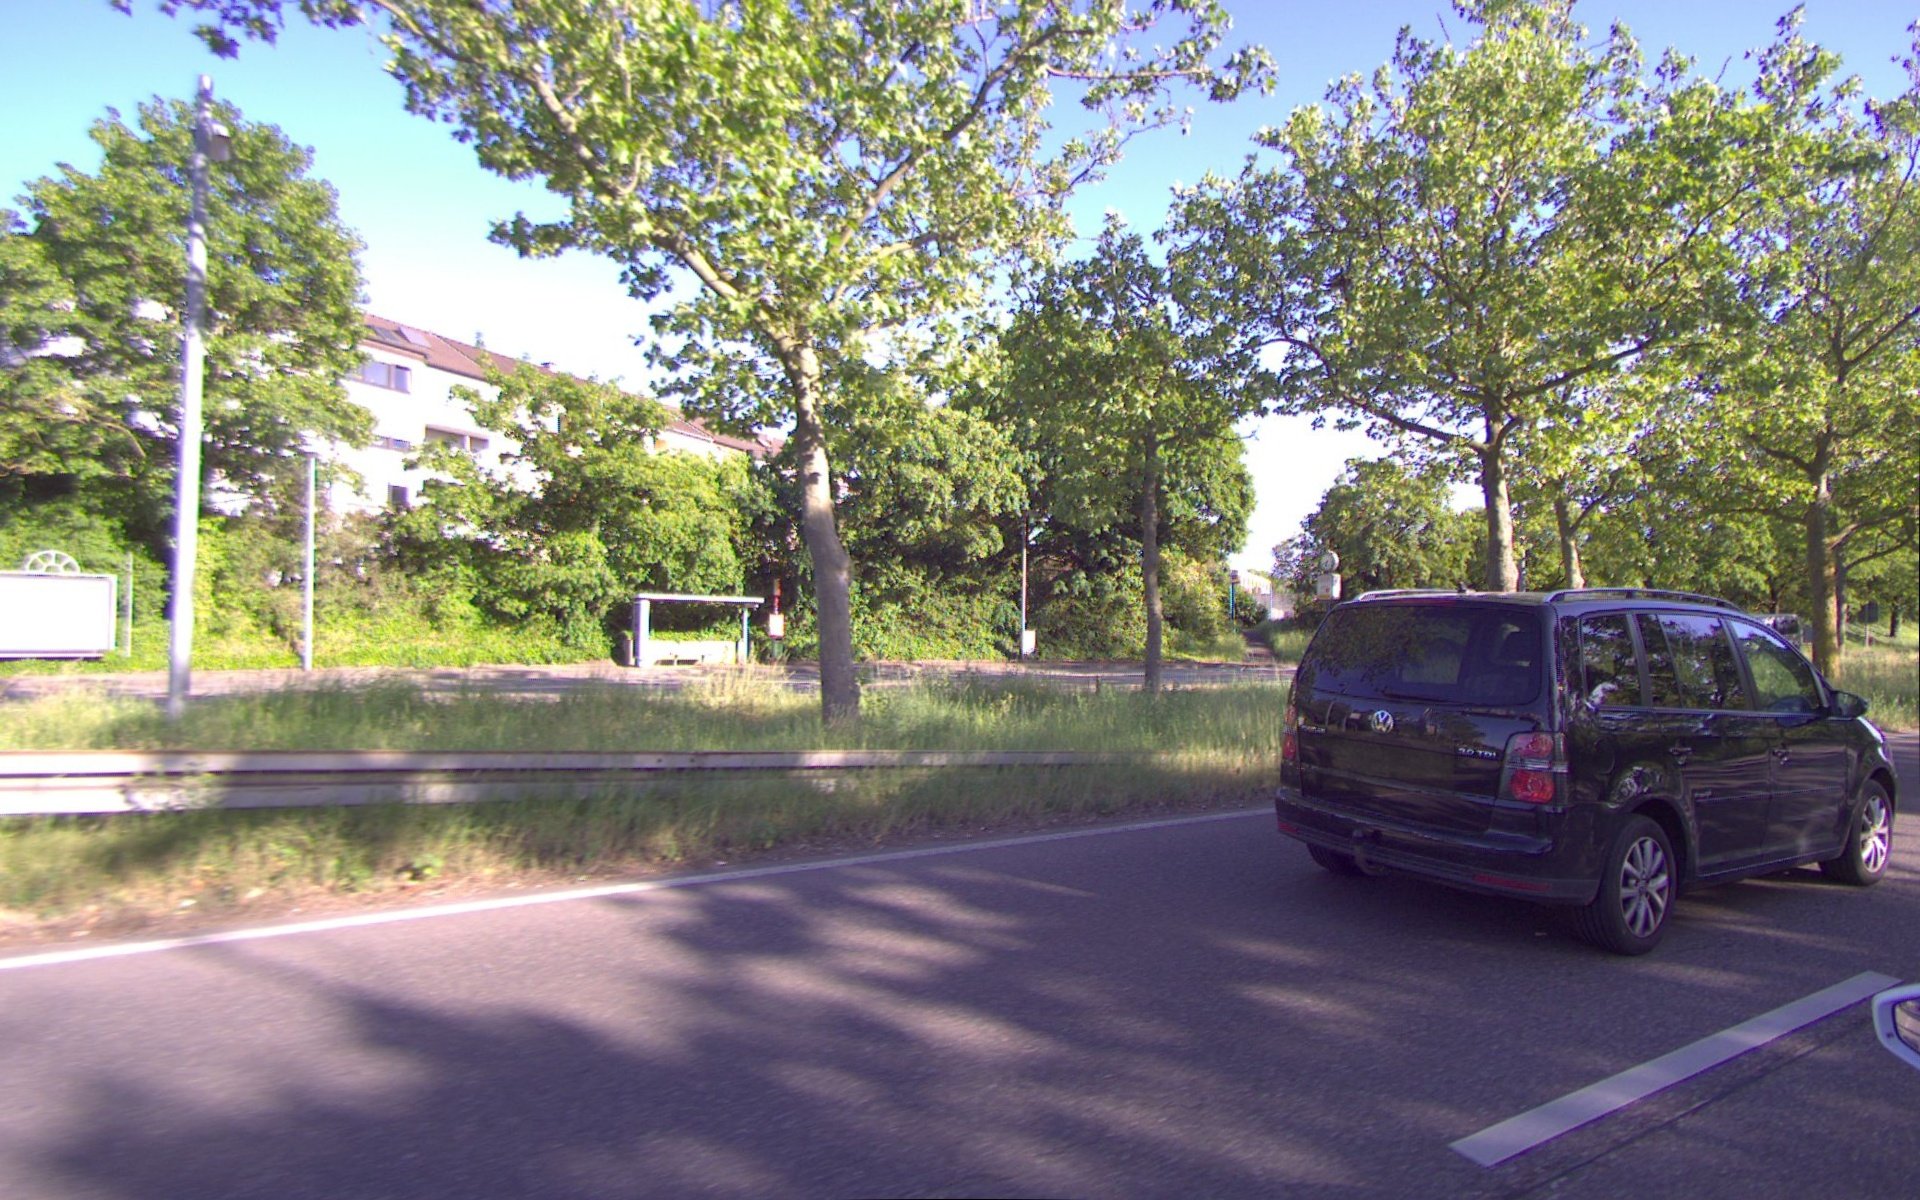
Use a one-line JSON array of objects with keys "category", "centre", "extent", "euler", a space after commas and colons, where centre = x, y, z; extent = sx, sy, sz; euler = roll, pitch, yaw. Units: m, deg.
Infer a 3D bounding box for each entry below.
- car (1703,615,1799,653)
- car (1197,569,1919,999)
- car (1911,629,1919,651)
[{"category": "car", "centre": [42.178, 1.791, 53.535], "extent": [5.675, 1.927, 2.124], "euler": [1, -1, -31]}, {"category": "car", "centre": [3.822, 0.767, 5.895], "extent": [4.866, 1.666, 1.759], "euler": [2, 0, -31]}, {"category": "car", "centre": [66.108, 2.676, 67.773], "extent": [4.315, 1.483, 1.759], "euler": [1, -1, -31]}]
